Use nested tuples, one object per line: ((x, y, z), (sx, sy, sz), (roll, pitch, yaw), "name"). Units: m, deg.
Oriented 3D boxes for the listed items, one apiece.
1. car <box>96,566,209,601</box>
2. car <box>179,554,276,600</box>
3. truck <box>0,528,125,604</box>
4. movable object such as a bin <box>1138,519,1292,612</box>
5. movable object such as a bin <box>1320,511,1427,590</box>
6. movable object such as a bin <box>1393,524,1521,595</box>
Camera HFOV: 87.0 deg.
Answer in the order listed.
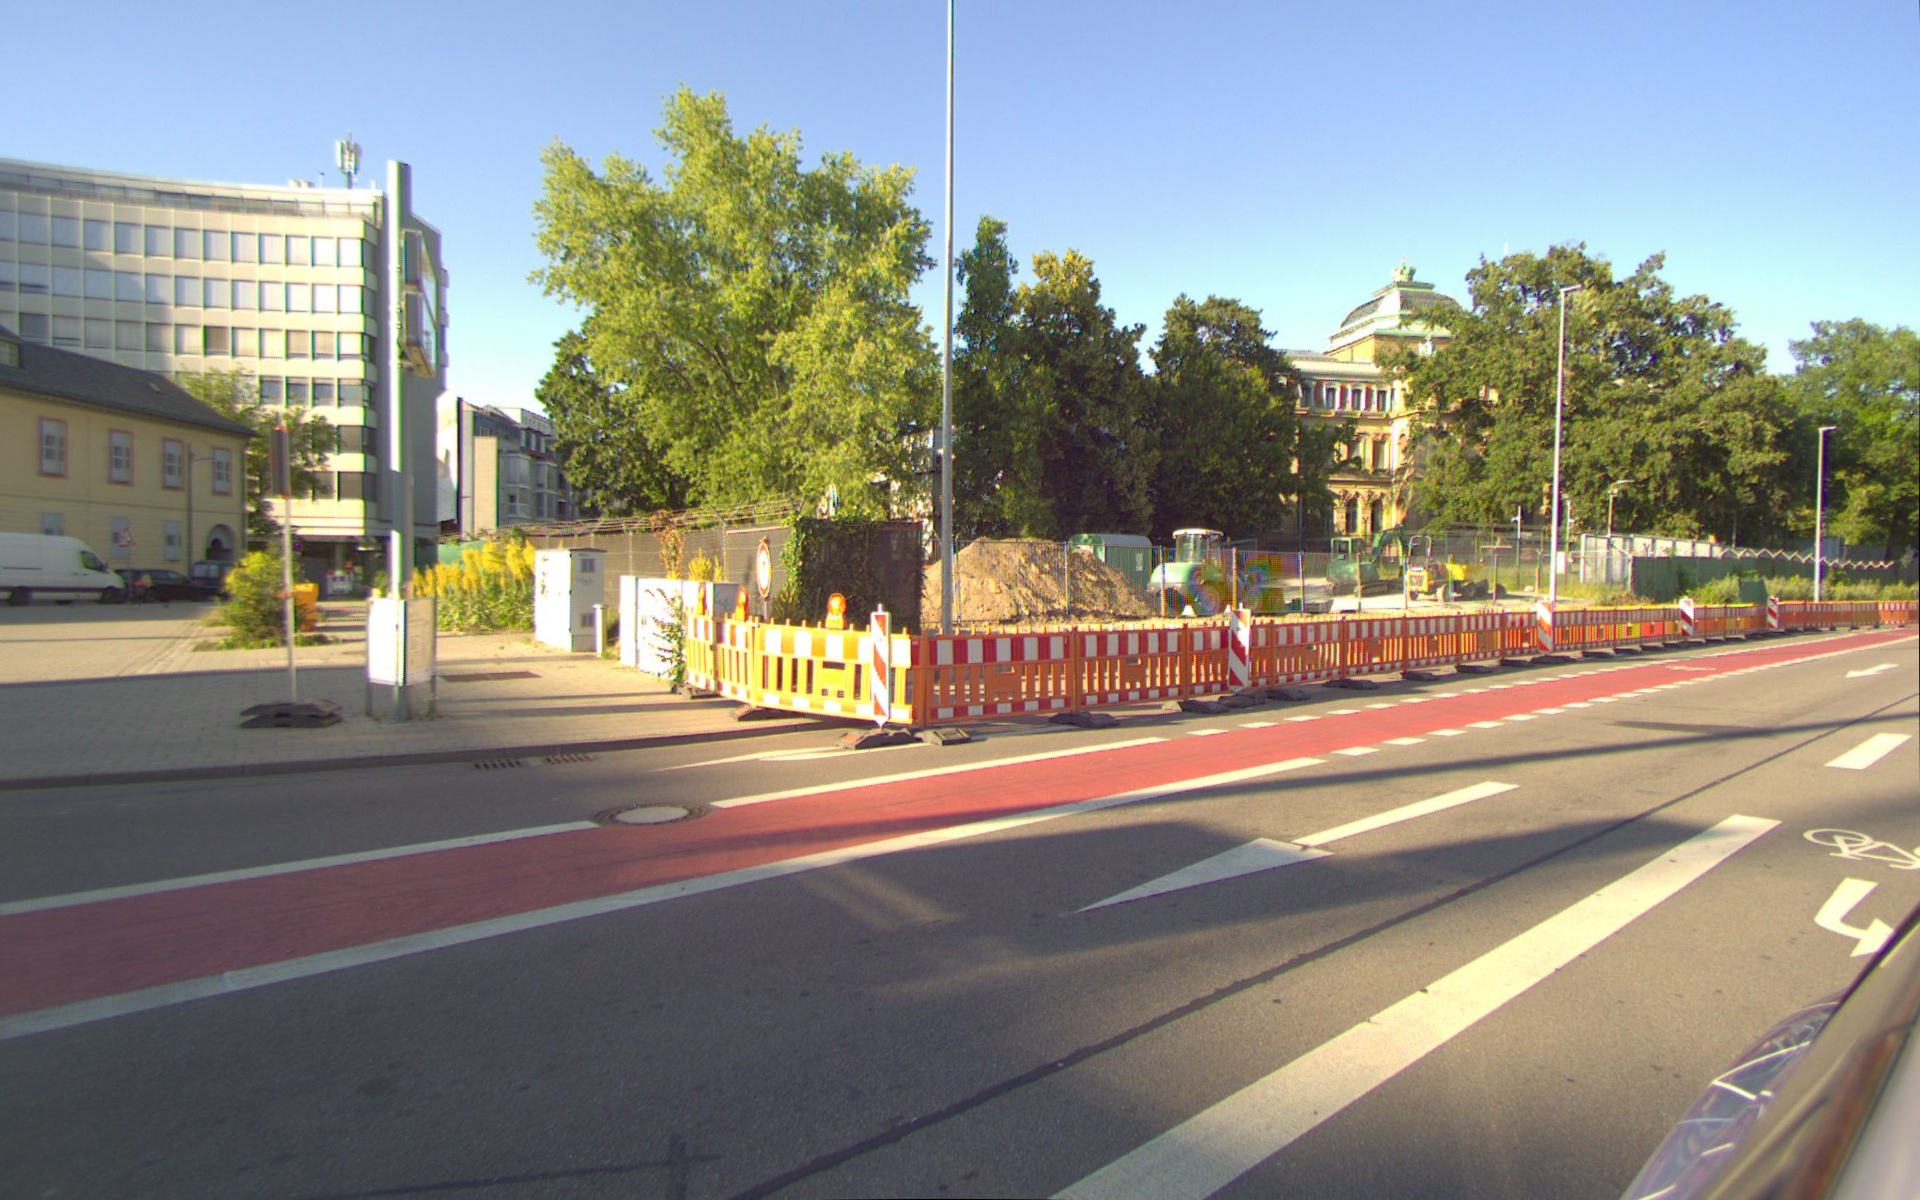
((-33.701, -0.684, 42.380), (1.682, 1.382, 3.761), (-1, 1, 1), "car")
((-33.751, -1.055, 46.734), (1.682, 2.005, 3.761), (-1, 1, 1), "car")
((-33.687, -1.182, 36.619), (2.258, 2.580, 5.638), (-1, 1, 1), "truck")
((8.062, -1.060, 31.796), (4.920, 2.717, 1.999), (-1, 1, -36), "movable object such as a bin")
((18.797, -2.187, 45.856), (5.274, 3.371, 1.999), (-1, 0, -36), "movable object such as a bin")
((21.063, -1.685, 42.835), (5.750, 2.851, 2.002), (-1, 0, -30), "movable object such as a bin")
